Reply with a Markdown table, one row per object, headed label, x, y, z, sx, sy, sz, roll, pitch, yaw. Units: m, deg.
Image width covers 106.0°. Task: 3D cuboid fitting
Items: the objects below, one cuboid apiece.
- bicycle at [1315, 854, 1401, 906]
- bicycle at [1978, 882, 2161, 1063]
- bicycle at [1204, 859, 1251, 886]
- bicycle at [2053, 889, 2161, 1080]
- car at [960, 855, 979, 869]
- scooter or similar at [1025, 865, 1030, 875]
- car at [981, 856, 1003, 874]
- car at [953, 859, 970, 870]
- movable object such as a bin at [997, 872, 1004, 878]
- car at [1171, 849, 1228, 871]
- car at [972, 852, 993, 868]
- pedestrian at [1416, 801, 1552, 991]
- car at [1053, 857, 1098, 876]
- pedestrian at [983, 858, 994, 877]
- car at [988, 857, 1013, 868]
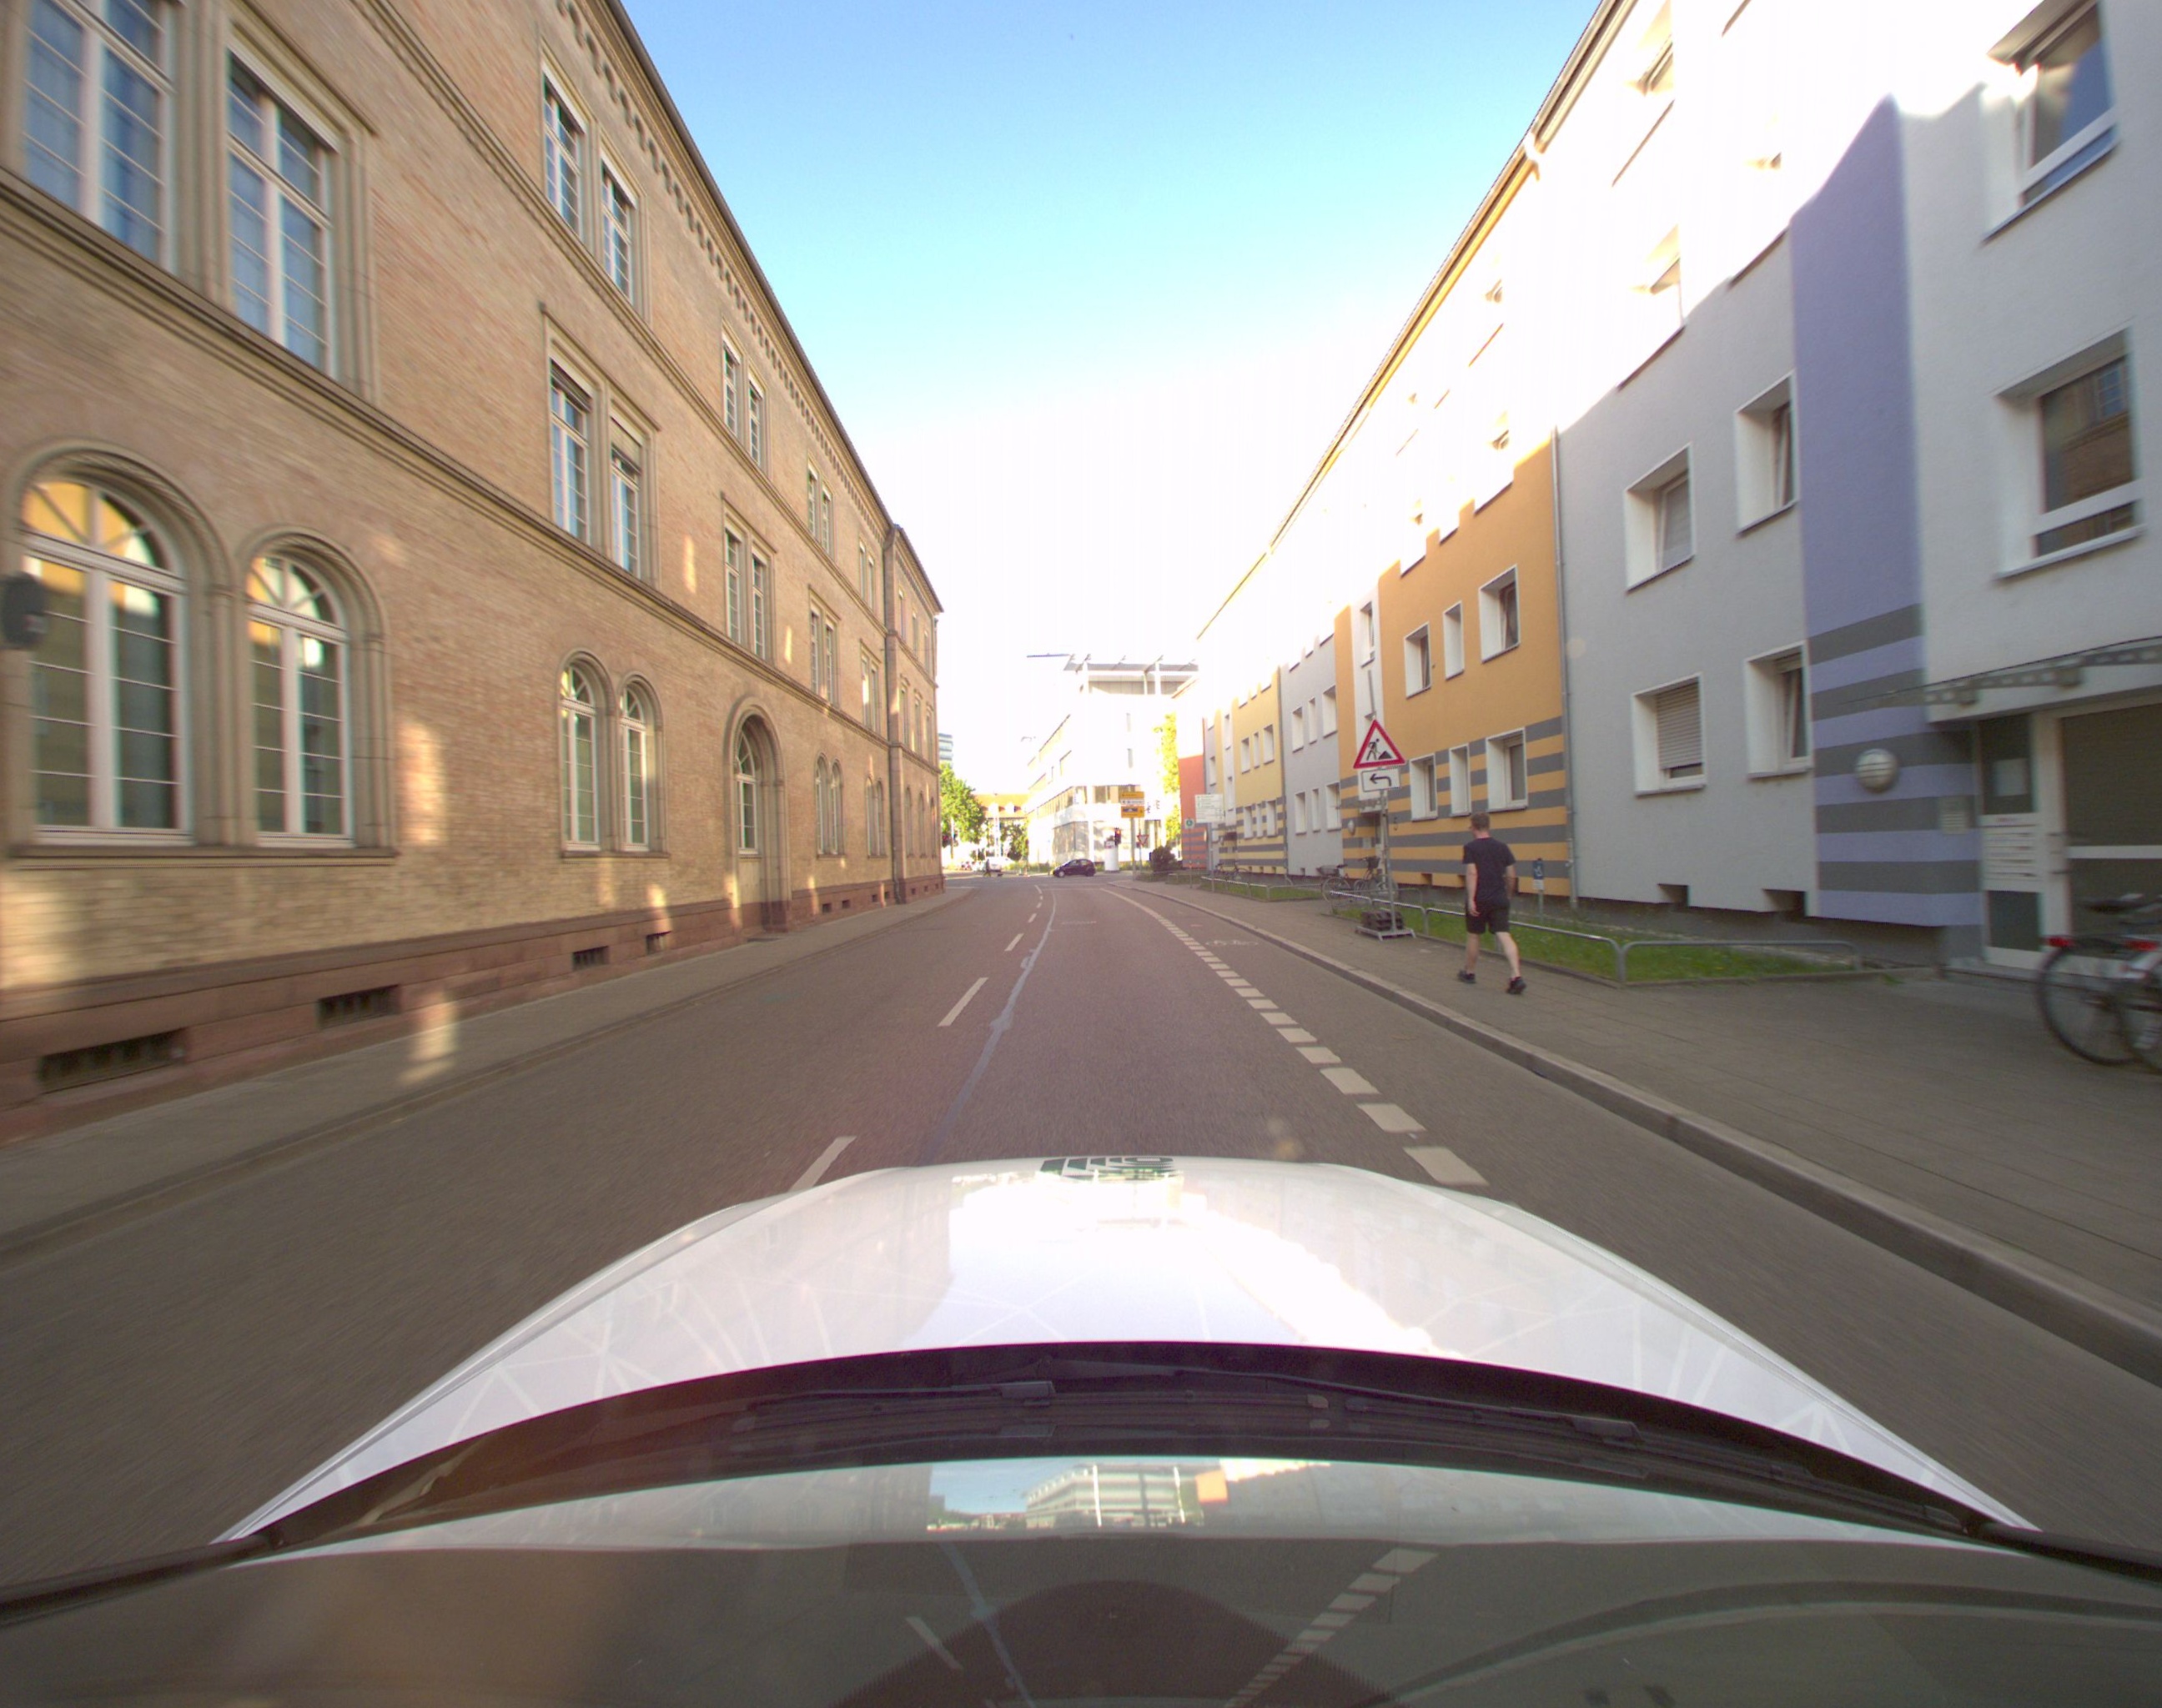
| label | x | y | z | sx | sy | sz | roll | pitch | yaw |
| --- | --- | --- | --- | --- | --- | --- | --- | --- | --- |
| bicycle | 6.520 | 0.617 | 19.226 | 1.805 | 1.137 | 0.551 | -2 | -1 | -1 |
| bicycle | 6.305 | 0.653 | 4.737 | 1.742 | 0.946 | 0.335 | -3 | -1 | 0 |
| bicycle | 6.011 | 0.743 | 33.475 | 1.750 | 1.004 | 0.612 | -3 | -1 | -4 |
| bicycle | 6.317 | 0.653 | 4.357 | 1.742 | 0.946 | 0.326 | -3 | -1 | 1 |
| car | -16.857 | 1.263 | 122.914 | 2.332 | 2.112 | 4.983 | 0 | -1 | -13 |
| scooter or similar | -5.460 | 1.640 | 83.512 | 0.325 | 1.059 | 1.138 | -2 | 0 | -11 |
| car | -11.192 | 1.395 | 102.268 | 2.425 | 2.112 | 5.211 | 0 | -1 | -11 |
| car | -19.492 | 1.754 | 132.783 | 2.332 | 1.733 | 4.983 | 0 | -1 | -13 |
| movable object such as a bin | -7.455 | 1.964 | 75.741 | 0.590 | 0.480 | 0.285 | -2 | 0 | -16 |
| car | 10.003 | 0.507 | 69.028 | 4.367 | 1.633 | 1.992 | -2 | 0 | -11 |
| car | -13.738 | 0.858 | 113.433 | 2.332 | 2.112 | 4.983 | 0 | -1 | -13 |
| pedestrian | 4.083 | 0.398 | 8.349 | 0.694 | 1.760 | 1.189 | -4 | 0 | 1 |
| car | -0.487 | 0.997 | 66.973 | 3.432 | 1.446 | 1.767 | -2 | -1 | -12 |
| pedestrian | -8.415 | 1.212 | 74.428 | 0.927 | 1.759 | 0.844 | 0 | -1 | -12 |
| car | -13.861 | 1.458 | 139.796 | 4.003 | 1.915 | 1.906 | 0 | -1 | -22 |
